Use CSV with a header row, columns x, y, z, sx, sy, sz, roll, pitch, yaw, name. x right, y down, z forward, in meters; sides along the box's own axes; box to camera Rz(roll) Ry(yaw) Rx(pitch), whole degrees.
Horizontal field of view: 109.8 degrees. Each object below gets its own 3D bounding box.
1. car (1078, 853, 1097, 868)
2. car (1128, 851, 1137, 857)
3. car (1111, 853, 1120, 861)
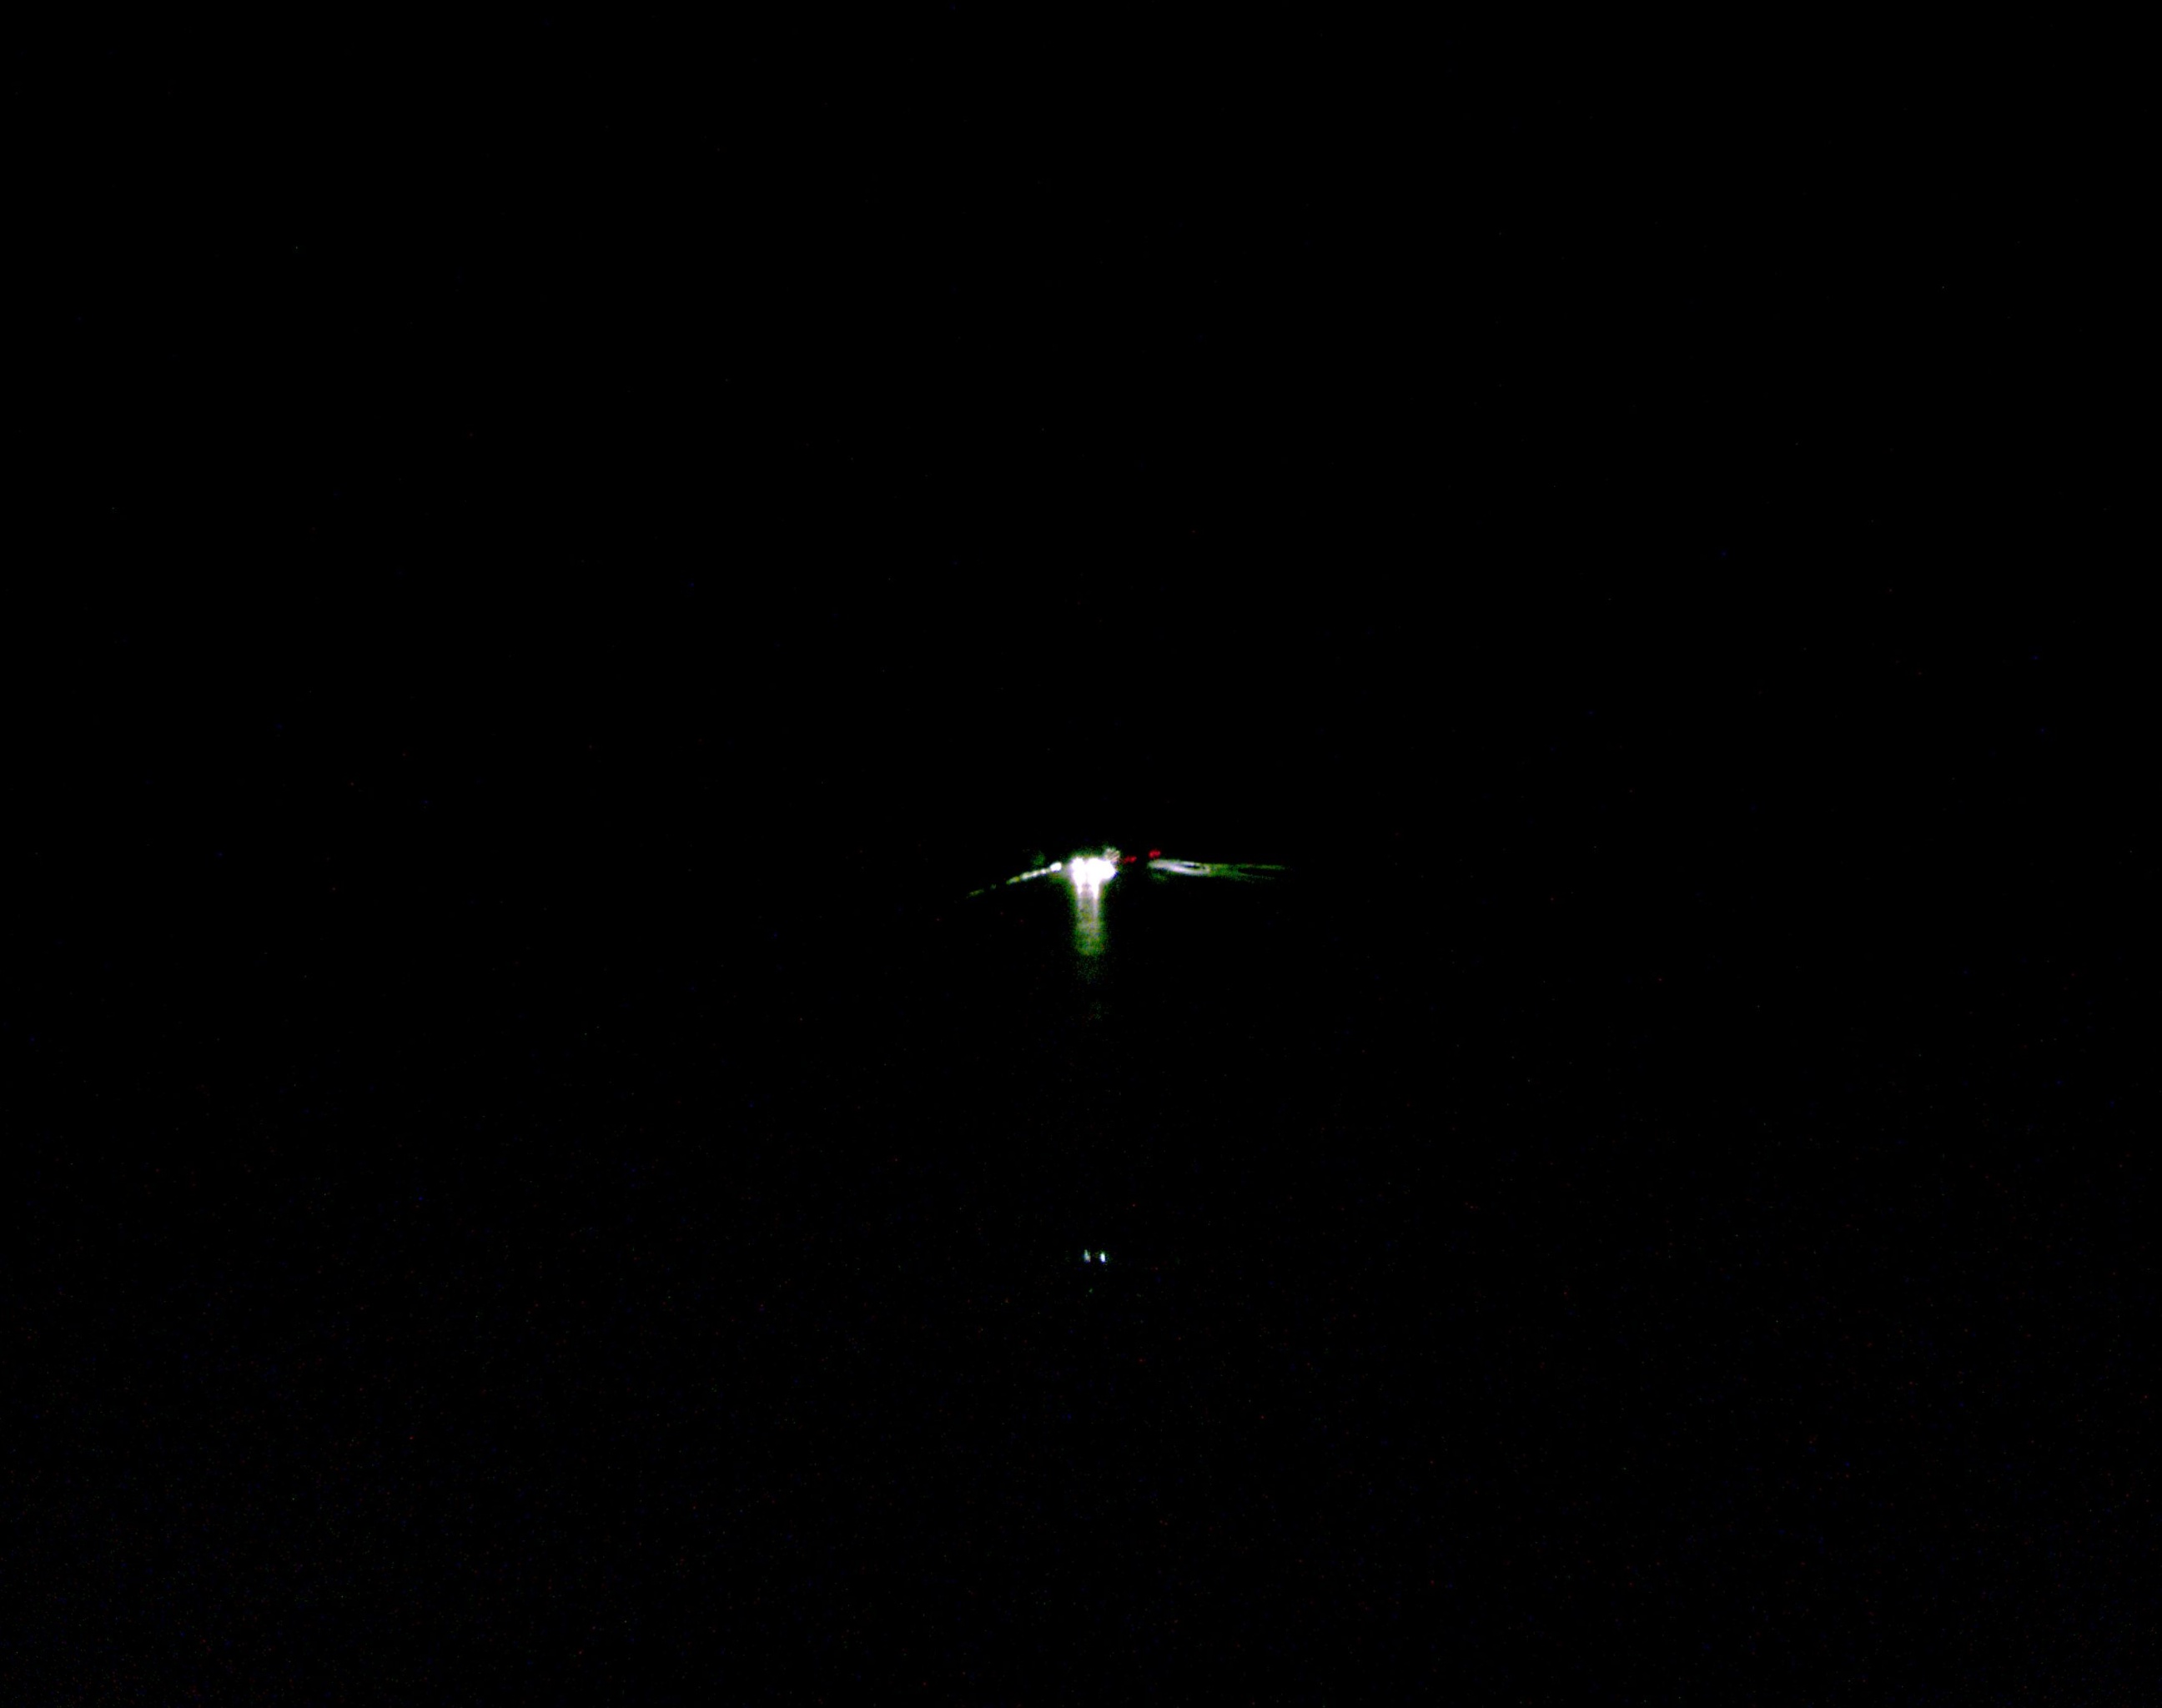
x,y,z,sx,sy,sz,roll,pitch,yaw,name
0.763,0.692,82.471,1.807,1.452,4.276,-3,1,3,car
13.442,0.021,197.211,1.809,1.331,4.191,-2,1,10,car
7.011,0.644,154.503,1.838,1.536,4.646,-3,1,3,car
